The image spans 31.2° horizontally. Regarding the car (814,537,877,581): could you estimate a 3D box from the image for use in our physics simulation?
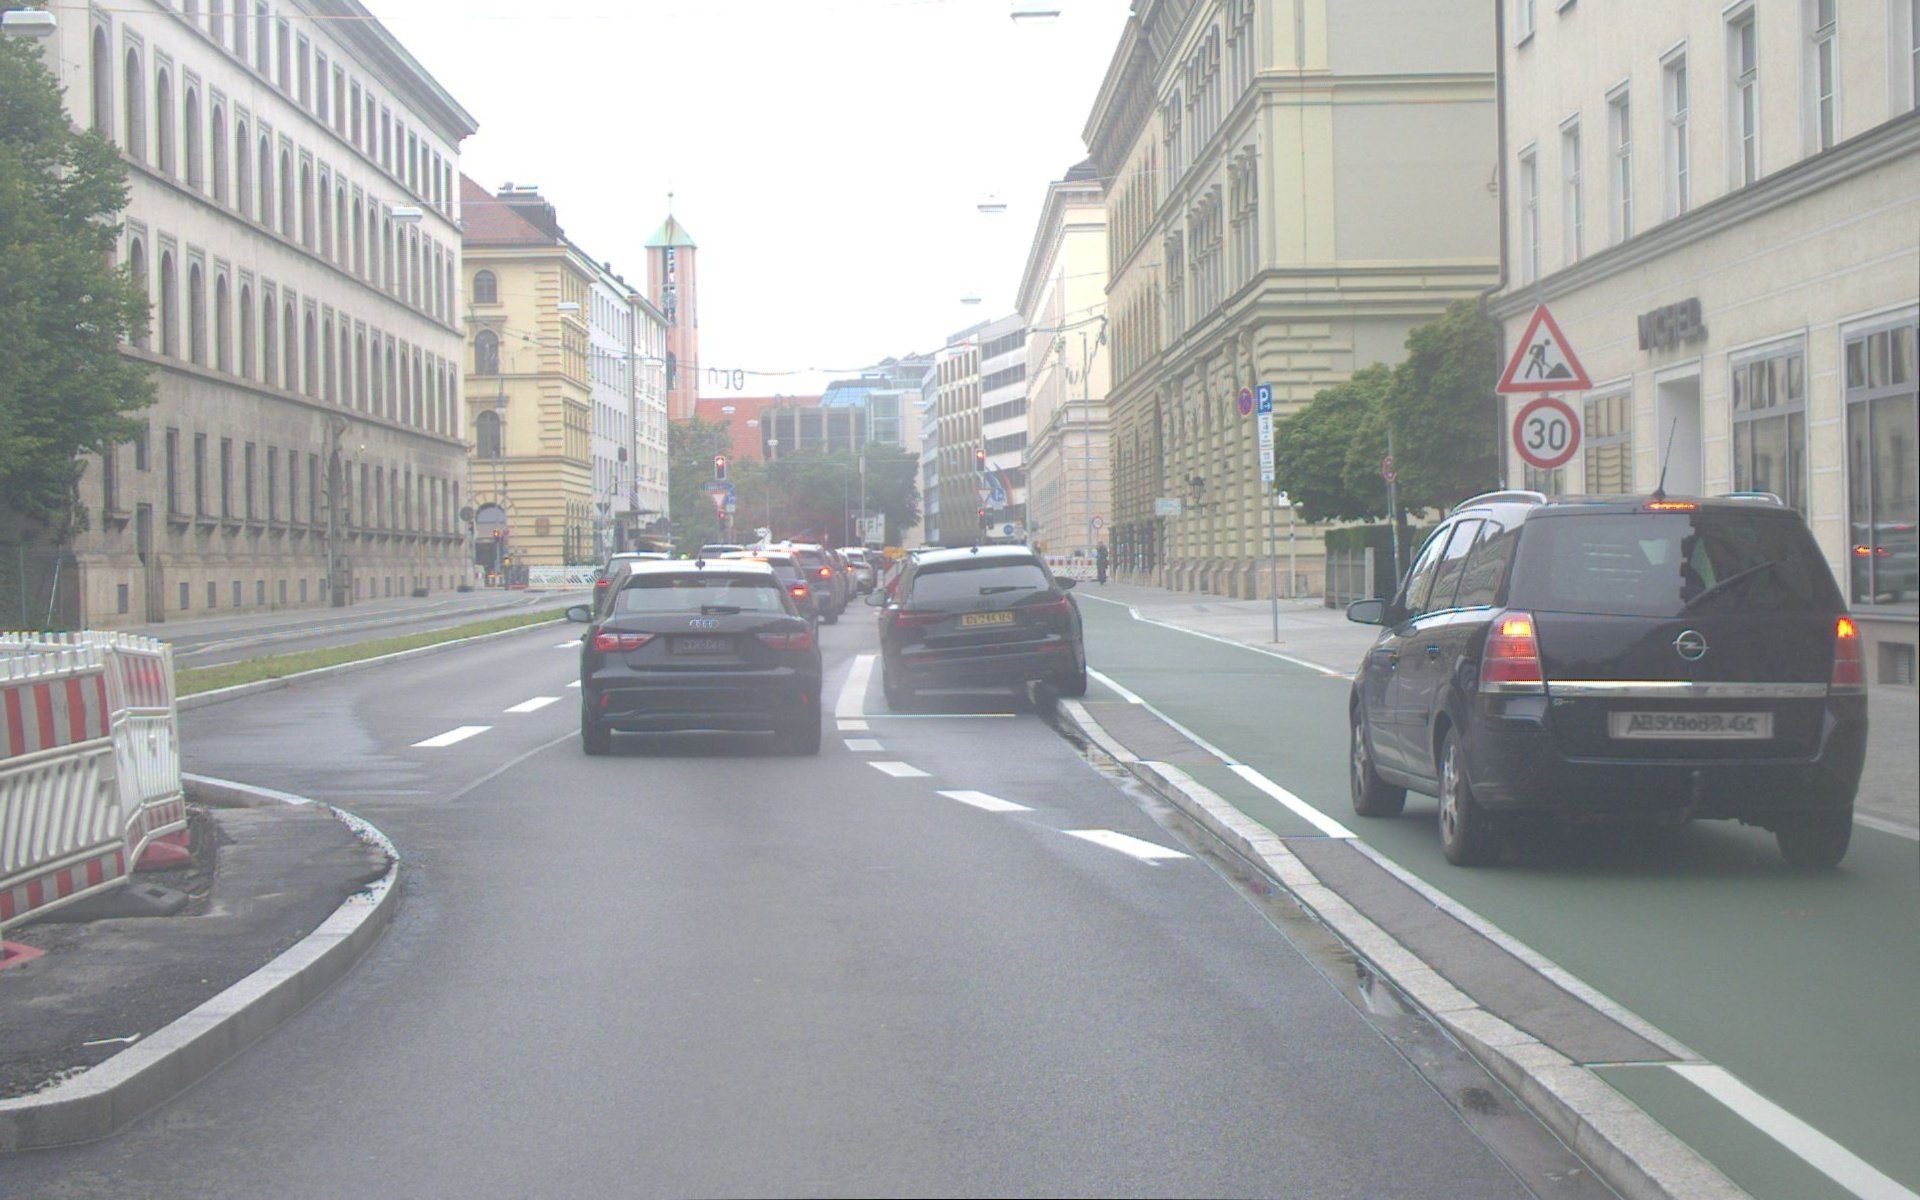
[{"bbox_3d":[-3.854,-1.389,116.494,1.993,1.439,4.000,-1,1,0],"label":"car"}]

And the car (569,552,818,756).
[{"bbox_3d":[-2.041,0.351,25.968,1.730,1.398,4.001,0,1,-5],"label":"car"}]

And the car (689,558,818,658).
[{"bbox_3d":[-3.050,0.087,51.312,1.730,1.398,4.000,0,1,-1],"label":"car"}]

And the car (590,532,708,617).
[{"bbox_3d":[-6.209,-0.524,69.050,1.993,1.622,4.000,-1,1,0],"label":"car"}]

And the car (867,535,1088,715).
[{"bbox_3d":[0.098,0.181,33.198,1.808,1.475,4.463,-5,1,-2],"label":"car"}]

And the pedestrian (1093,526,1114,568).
[{"bbox_3d":[5.491,-2.021,131.623,0.710,1.612,0.754,-1,1,-1],"label":"pedestrian"}]

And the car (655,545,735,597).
[{"bbox_3d":[-7.677,-0.865,99.845,1.993,1.439,4.000,-1,1,0],"label":"car"}]

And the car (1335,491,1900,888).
[{"bbox_3d":[2.889,0.329,15.968,1.764,1.610,4.030,0,1,-1],"label":"car"}]

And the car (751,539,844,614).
[{"bbox_3d":[-3.231,-0.490,68.970,1.730,1.456,4.000,0,1,-1],"label":"car"}]

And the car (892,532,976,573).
[{"bbox_3d":[-1.127,-2.108,151.494,1.997,1.744,3.994,-1,1,29],"label":"car"}]
